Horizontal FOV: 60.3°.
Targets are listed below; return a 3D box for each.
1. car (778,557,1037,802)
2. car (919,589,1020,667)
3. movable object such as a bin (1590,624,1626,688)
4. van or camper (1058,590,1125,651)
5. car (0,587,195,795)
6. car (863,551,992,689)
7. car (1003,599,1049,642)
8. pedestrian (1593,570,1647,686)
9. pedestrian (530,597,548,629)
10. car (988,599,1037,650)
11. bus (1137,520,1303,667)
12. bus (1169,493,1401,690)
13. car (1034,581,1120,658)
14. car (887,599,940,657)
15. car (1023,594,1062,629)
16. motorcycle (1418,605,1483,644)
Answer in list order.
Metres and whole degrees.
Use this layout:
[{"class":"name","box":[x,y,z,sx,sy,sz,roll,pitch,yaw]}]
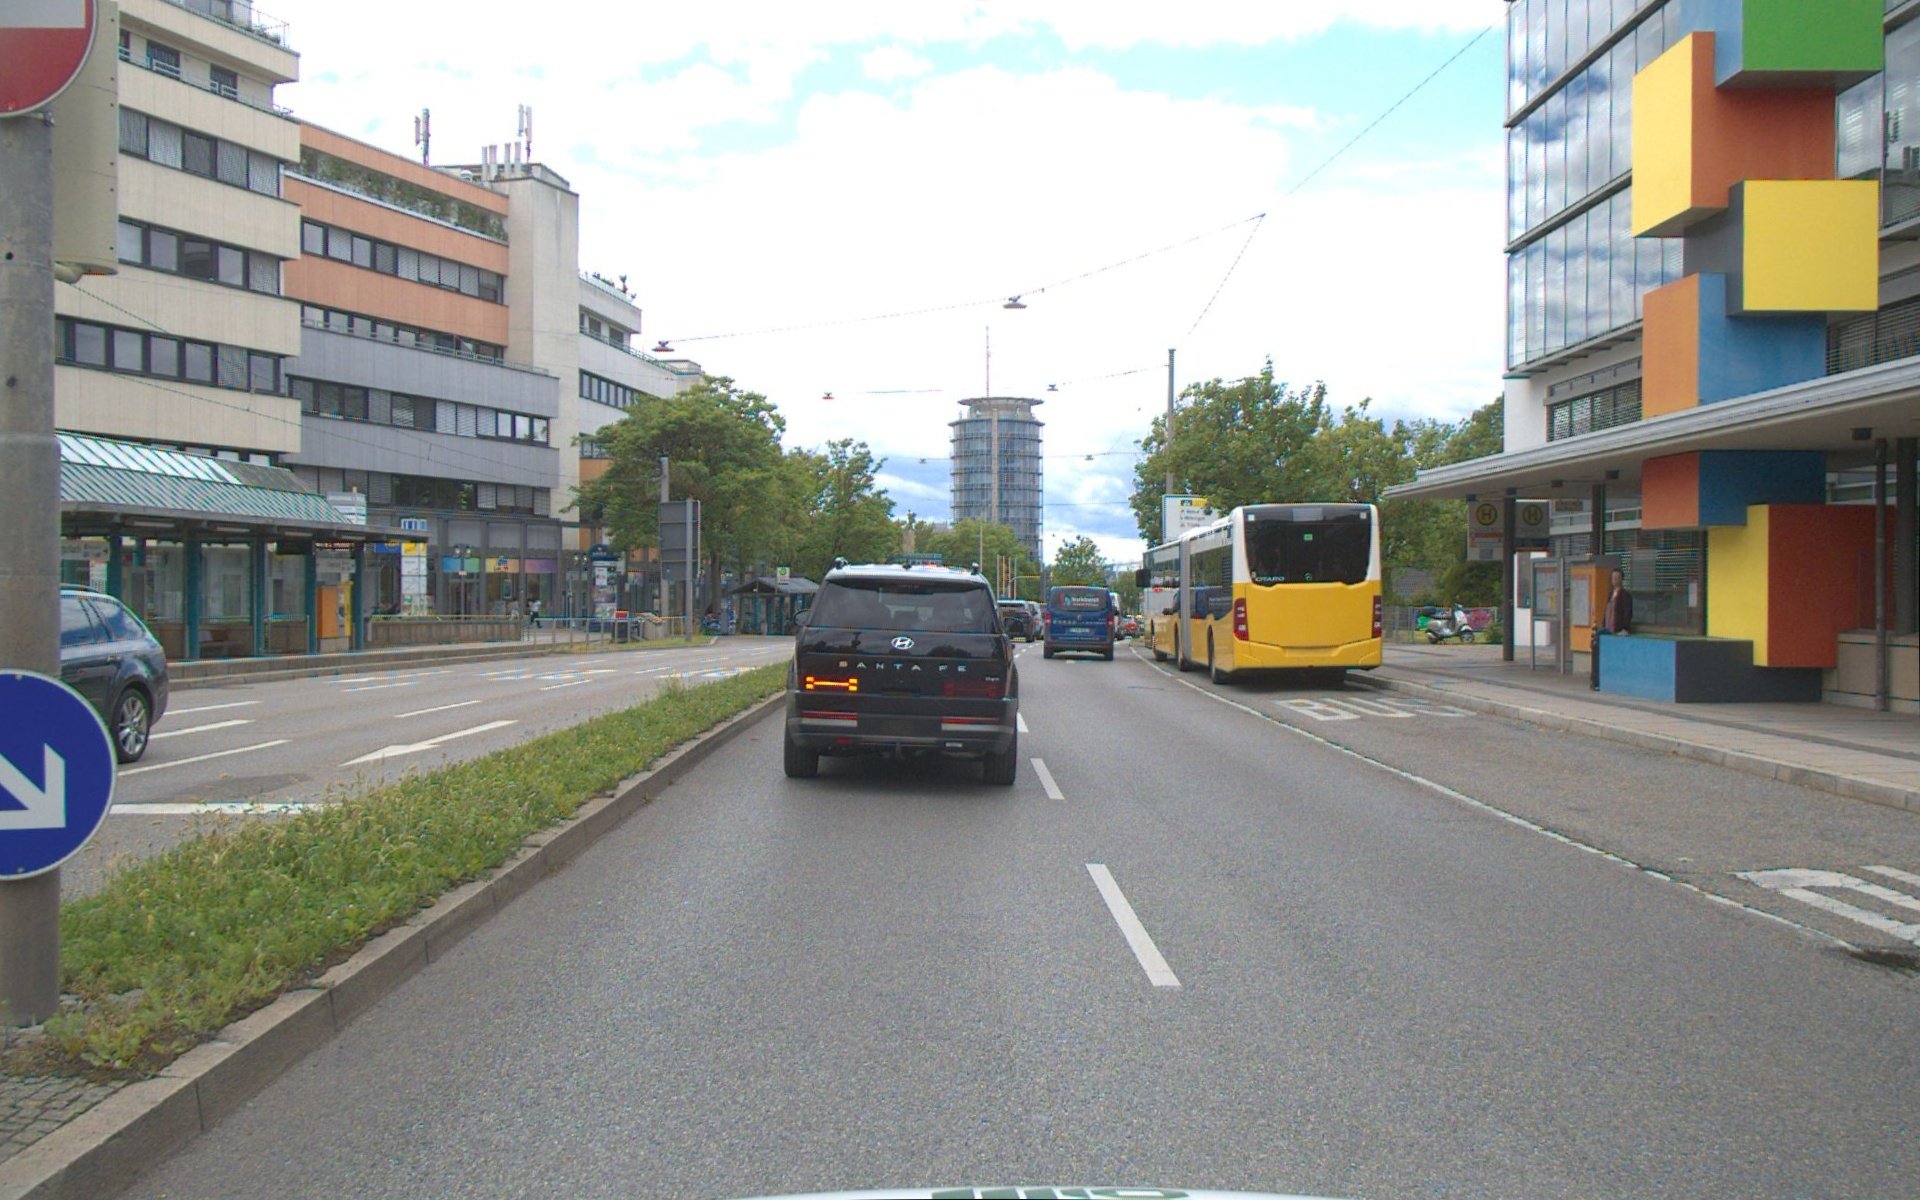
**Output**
[{"class":"car","box":[-0.443,0.552,14.415,1.864,1.761,4.445,1,1,-2]},{"class":"car","box":[0.153,0.592,37.967,1.865,1.569,4.705,1,1,-5]},{"class":"movable object such as a bin","box":[9.407,0.815,24.018,0.349,0.913,0.462,0,0,1]},{"class":"van or camper","box":[4.564,0.685,58.027,1.953,1.951,4.409,1,2,-1]},{"class":"car","box":[-7.719,0.650,12.510,1.761,1.480,4.612,0,0,-1]},{"class":"car","box":[-0.525,0.258,26.959,1.863,2.003,4.635,1,1,-1]},{"class":"car","box":[3.198,0.948,79.418,1.862,1.866,4.713,2,1,6]},{"class":"pedestrian","box":[9.827,0.417,24.641,0.513,1.702,0.733,0,0,1]},{"class":"pedestrian","box":[-22.229,0.688,87.387,0.715,1.702,0.582,0,0,21]},{"class":"car","box":[2.101,0.965,67.116,1.863,1.891,4.710,1,1,1]},{"class":"bus","box":[6.222,-0.144,41.207,2.890,3.166,9.979,-1,0,2]},{"class":"bus","box":[5.893,-0.137,31.697,2.904,3.171,9.246,-1,0,2]},{"class":"car","box":[3.102,0.483,44.675,1.863,1.891,4.709,1,1,-1]},{"class":"car","box":[-1.716,1.005,61.951,1.863,1.963,4.709,1,1,-1]},{"class":"car","box":[4.563,0.629,91.103,1.862,1.866,4.713,0,0,6]},{"class":"motorcycle","box":[14.139,0.687,47.701,0.628,1.089,1.755,0,0,-38]}]
